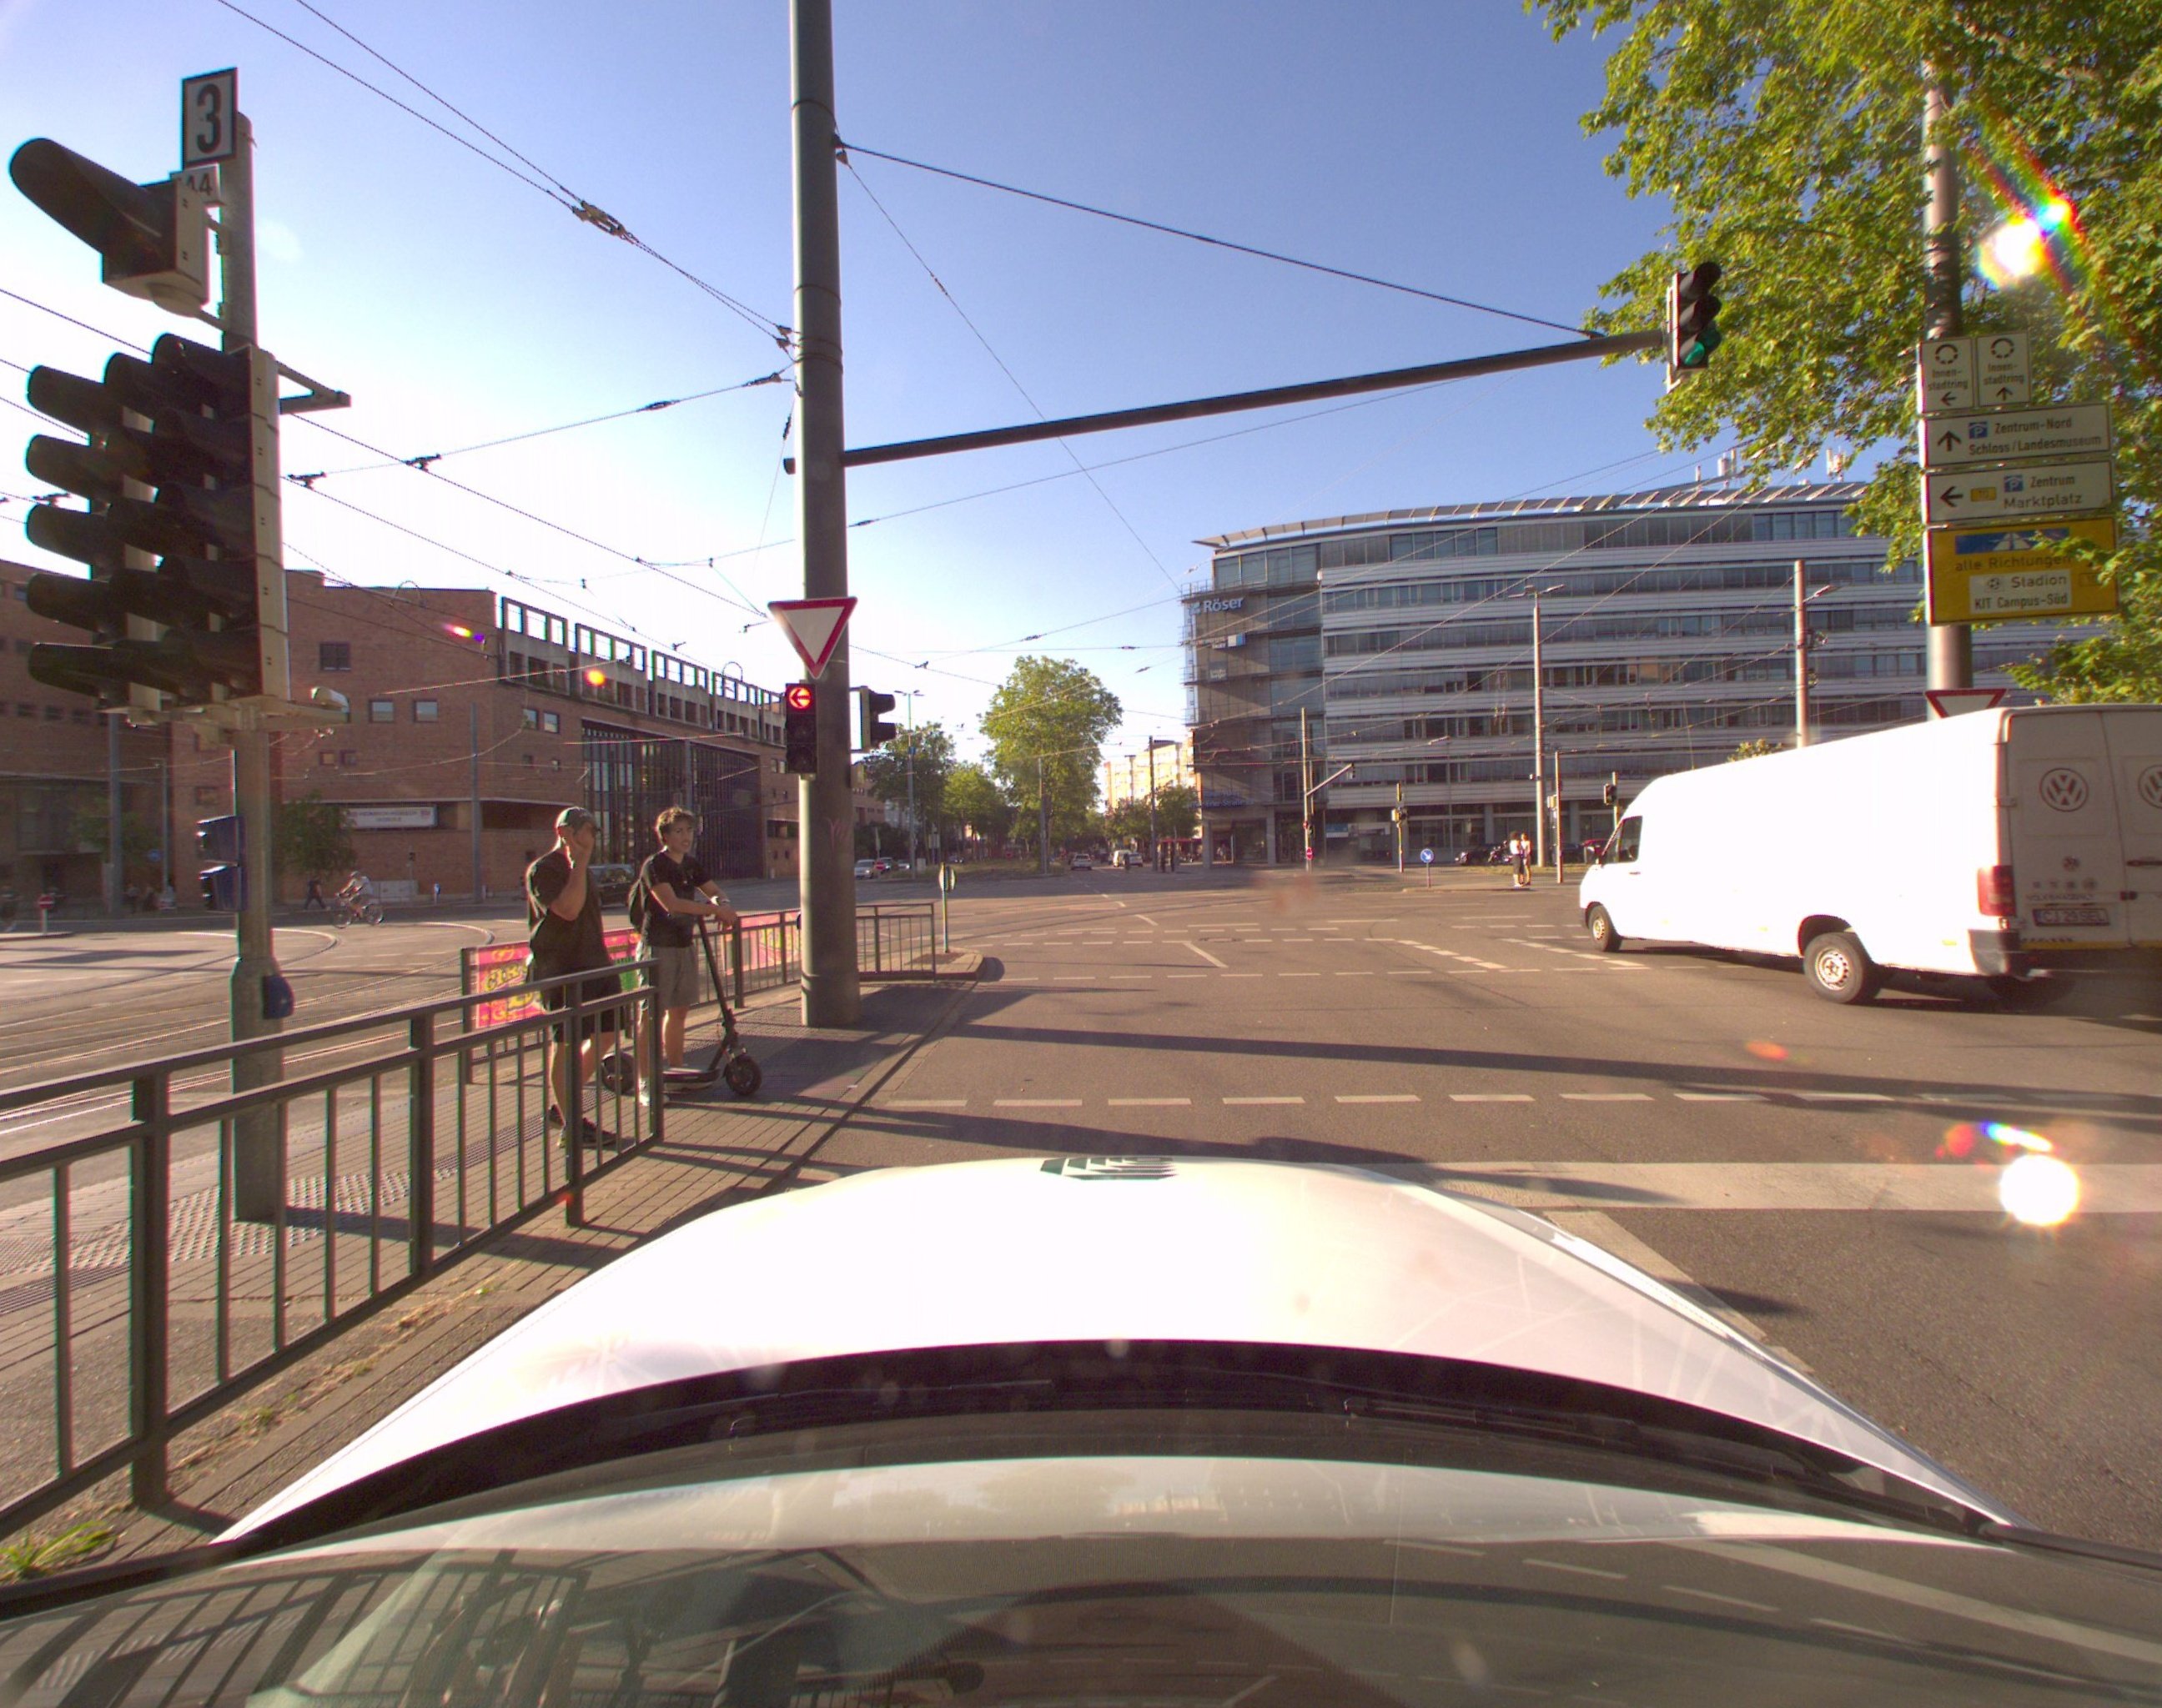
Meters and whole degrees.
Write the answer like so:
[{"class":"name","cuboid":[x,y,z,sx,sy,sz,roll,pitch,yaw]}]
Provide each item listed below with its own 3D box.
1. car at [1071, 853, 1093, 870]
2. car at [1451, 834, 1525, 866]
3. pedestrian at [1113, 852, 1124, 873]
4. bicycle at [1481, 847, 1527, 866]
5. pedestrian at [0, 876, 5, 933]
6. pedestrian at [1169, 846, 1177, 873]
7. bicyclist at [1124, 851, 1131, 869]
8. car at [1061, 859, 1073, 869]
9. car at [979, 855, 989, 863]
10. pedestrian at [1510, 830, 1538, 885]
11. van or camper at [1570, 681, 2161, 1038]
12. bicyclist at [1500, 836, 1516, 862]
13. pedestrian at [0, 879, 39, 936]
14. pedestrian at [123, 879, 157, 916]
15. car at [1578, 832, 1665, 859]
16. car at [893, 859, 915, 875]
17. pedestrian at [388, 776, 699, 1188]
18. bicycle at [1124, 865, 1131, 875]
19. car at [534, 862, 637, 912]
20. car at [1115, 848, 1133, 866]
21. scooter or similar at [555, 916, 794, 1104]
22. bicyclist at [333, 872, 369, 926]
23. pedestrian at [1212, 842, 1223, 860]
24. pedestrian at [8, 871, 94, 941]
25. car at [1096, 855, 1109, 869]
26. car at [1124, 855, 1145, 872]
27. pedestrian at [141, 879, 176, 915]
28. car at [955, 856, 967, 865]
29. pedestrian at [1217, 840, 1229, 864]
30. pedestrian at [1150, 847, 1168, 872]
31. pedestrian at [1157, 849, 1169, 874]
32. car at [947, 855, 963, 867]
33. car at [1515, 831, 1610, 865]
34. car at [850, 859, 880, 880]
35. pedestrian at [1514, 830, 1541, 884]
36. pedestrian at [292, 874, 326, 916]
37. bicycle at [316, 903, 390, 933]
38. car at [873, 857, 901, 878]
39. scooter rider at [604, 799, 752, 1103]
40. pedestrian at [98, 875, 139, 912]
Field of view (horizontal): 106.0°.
[{"class":"car","cuboid":[0.102,0.650,73.342,1.740,1.418,4.004,-1,0,4]},{"class":"car","cuboid":[27.207,-0.255,54.536,3.972,2.014,2.001,0,-1,2]},{"class":"pedestrian","cuboid":[3.098,0.683,67.185,0.866,1.707,0.794,0,-1,1]},{"class":"bicycle","cuboid":[25.454,0.138,49.014,2.397,1.022,0.638,-2,0,6]},{"class":"pedestrian","cuboid":[-38.766,1.805,28.770,0.615,2.013,0.726,-2,0,-28]},{"class":"pedestrian","cuboid":[7.098,0.430,62.785,0.584,2.014,0.620,0,-1,2]},{"class":"bicyclist","cuboid":[3.639,0.472,64.026,0.485,1.439,0.616,-1,0,1]},{"class":"car","cuboid":[-2.123,1.456,121.284,1.759,1.404,4.293,-1,0,-2]},{"class":"car","cuboid":[-23.327,1.135,195.466,1.837,1.783,4.002,-2,0,2]},{"class":"pedestrian","cuboid":[14.542,0.126,26.757,0.671,1.759,0.746,-2,0,24]},{"class":"van or camper","cuboid":[8.308,0.018,9.247,1.990,2.614,6.506,-2,0,5]},{"class":"bicyclist","cuboid":[25.689,-0.297,49.001,0.660,1.503,0.614,-2,0,7]},{"class":"pedestrian","cuboid":[-38.204,1.911,29.290,0.615,2.013,0.726,-2,0,-28]},{"class":"pedestrian","cuboid":[-55.599,2.565,48.124,1.003,2.052,0.850,-2,0,-1]},{"class":"car","cuboid":[32.187,-0.502,48.615,3.966,1.552,1.800,0,-1,6]},{"class":"car","cuboid":[-18.464,1.313,85.145,1.673,1.607,3.994,0,-1,-4]},{"class":"pedestrian","cuboid":[-2.744,0.591,4.328,0.848,1.884,1.171,0,-1,2]},{"class":"bicycle","cuboid":[3.649,1.229,63.856,0.489,0.788,1.862,-1,0,2]},{"class":"car","cuboid":[-19.184,1.228,31.749,1.865,1.762,3.992,0,0,-5]},{"class":"car","cuboid":[4.722,0.341,89.777,1.986,2.014,4.001,0,-1,2]},{"class":"scooter or similar","cuboid":[-2.619,0.987,5.326,1.196,1.081,0.649,-2,0,5]},{"class":"bicyclist","cuboid":[-22.690,1.389,25.324,0.585,1.625,0.514,-2,0,-3]},{"class":"pedestrian","cuboid":[16.158,-0.335,96.288,1.305,2.190,1.173,0,-1,8]},{"class":"pedestrian","cuboid":[-30.918,1.541,24.474,1.029,2.014,1.208,0,-1,1]},{"class":"car","cuboid":[3.292,1.228,126.787,1.986,2.014,4.001,0,-1,2]},{"class":"car","cuboid":[5.390,0.961,82.820,2.022,1.596,4.001,0,-1,2]},{"class":"pedestrian","cuboid":[-54.294,2.517,47.953,1.003,2.052,0.850,-2,0,-1]},{"class":"car","cuboid":[-26.005,1.451,177.056,1.903,1.783,4.002,-2,0,2]},{"class":"pedestrian","cuboid":[12.073,-0.139,69.060,0.866,2.014,0.794,0,-2,1]},{"class":"pedestrian","cuboid":[6.320,0.425,66.037,1.337,1.950,1.011,-2,-1,1]},{"class":"pedestrian","cuboid":[6.478,0.602,64.305,0.846,2.014,0.707,0,-1,0]},{"class":"car","cuboid":[-23.182,1.227,149.776,1.867,2.013,4.477,-2,0,4]},{"class":"car","cuboid":[27.278,-0.355,46.278,4.234,1.723,1.886,-2,0,4]},{"class":"car","cuboid":[-17.968,1.277,67.890,1.618,1.577,3.994,-2,0,-4]},{"class":"pedestrian","cuboid":[15.055,0.102,27.474,0.677,1.759,0.746,-2,0,23]},{"class":"pedestrian","cuboid":[-35.683,1.884,37.628,0.721,1.902,0.875,0,-1,-1]},{"class":"bicycle","cuboid":[-22.681,1.981,25.422,0.588,0.771,1.966,-2,0,-2]},{"class":"car","cuboid":[-17.977,1.214,75.499,1.819,1.790,3.994,-2,0,-4]},{"class":"scooter rider","cuboid":[-2.621,0.605,5.347,0.563,1.853,0.681,-2,-2,6]},{"class":"pedestrian","cuboid":[-55.150,2.268,46.659,1.155,2.013,0.910,-2,0,-2]}]
